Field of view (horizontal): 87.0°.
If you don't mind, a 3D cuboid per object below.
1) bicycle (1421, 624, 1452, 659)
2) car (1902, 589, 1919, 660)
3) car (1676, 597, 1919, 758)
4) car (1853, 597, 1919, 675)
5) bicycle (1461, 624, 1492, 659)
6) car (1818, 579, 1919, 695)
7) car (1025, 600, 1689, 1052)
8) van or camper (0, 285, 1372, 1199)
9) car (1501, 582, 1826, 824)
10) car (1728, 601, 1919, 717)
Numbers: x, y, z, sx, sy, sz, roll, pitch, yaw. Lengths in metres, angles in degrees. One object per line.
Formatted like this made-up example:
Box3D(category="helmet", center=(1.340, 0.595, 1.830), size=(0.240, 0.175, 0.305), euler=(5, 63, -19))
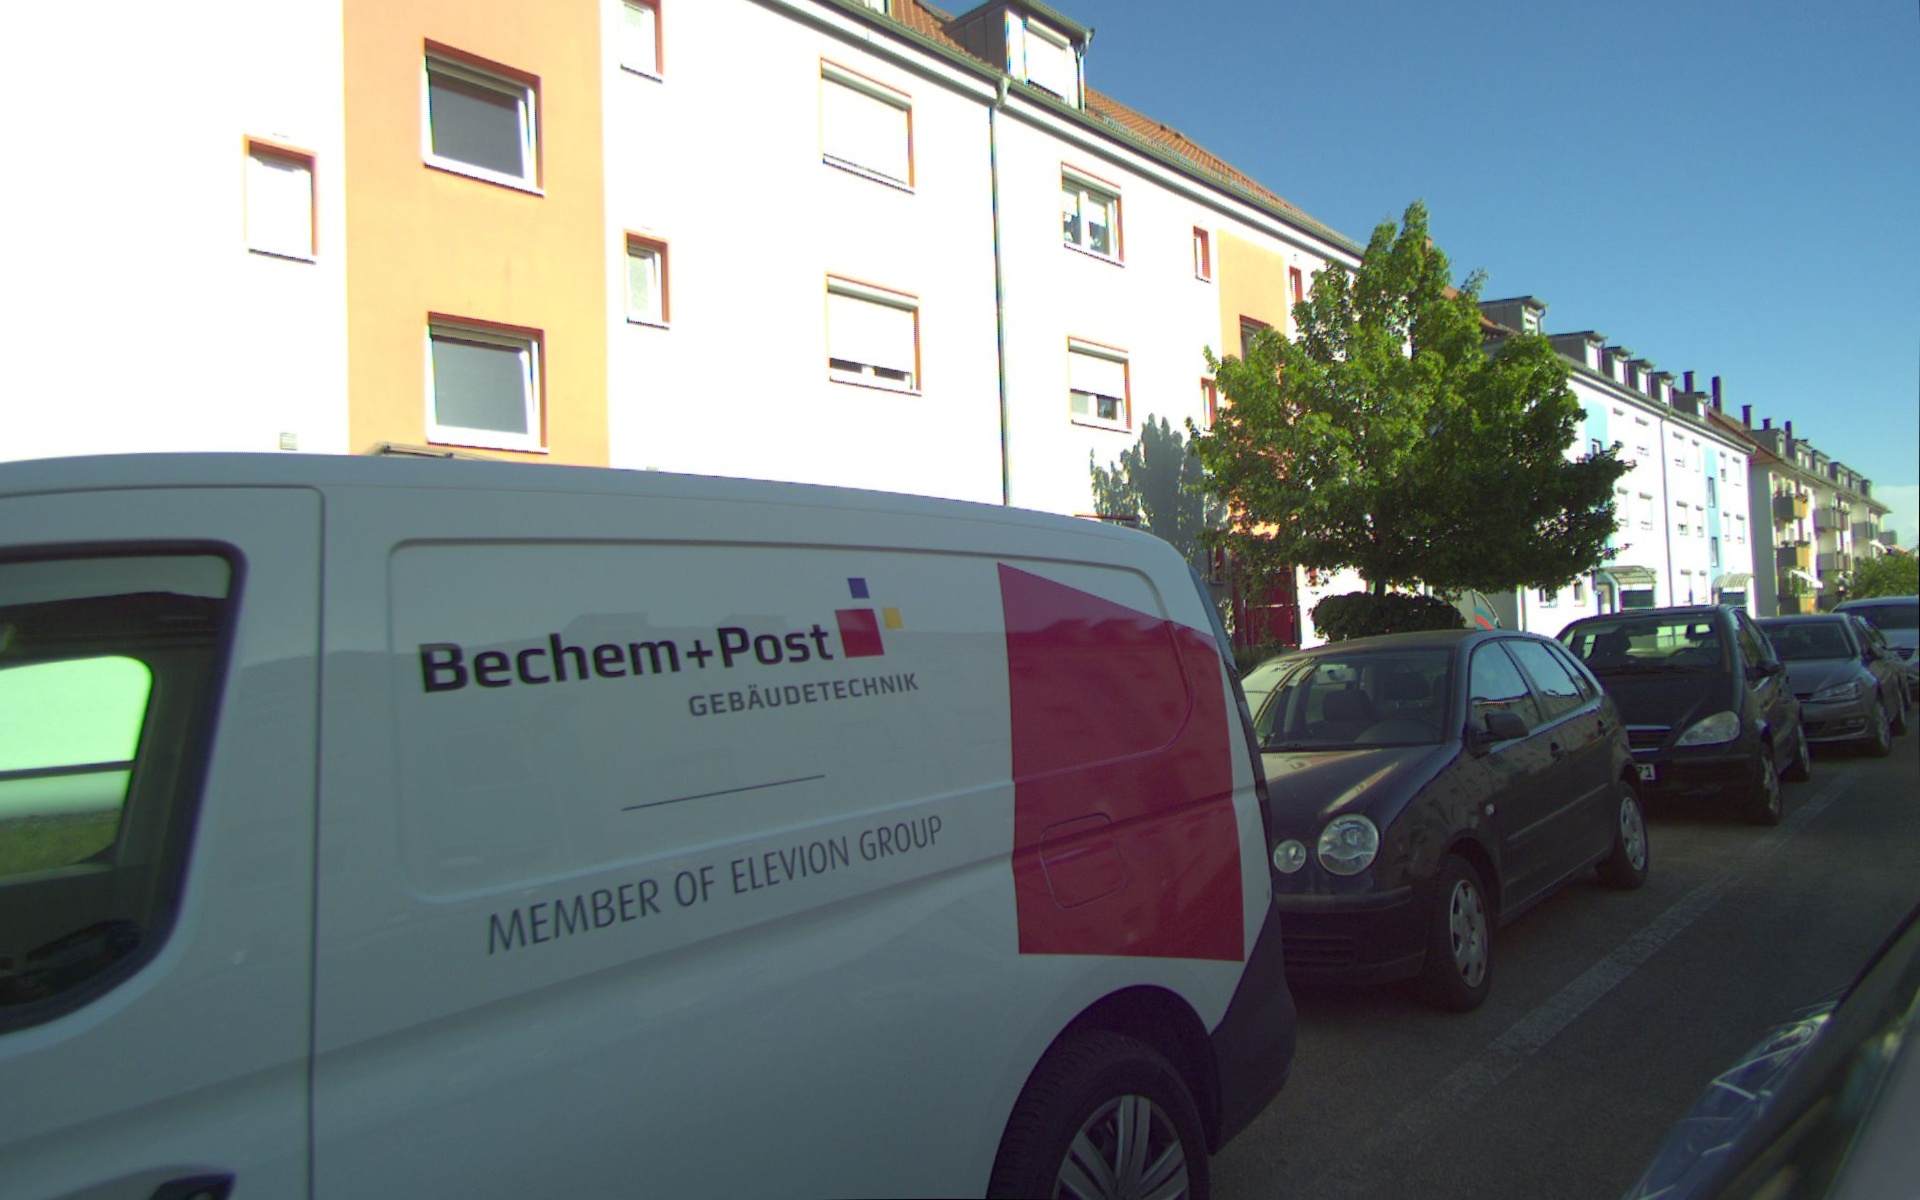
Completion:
Box3D(category="bicycle", center=(14.040, 1.218, 29.814), size=(1.260, 0.958, 0.319), euler=(-1, -1, -40))
Box3D(category="car", center=(24.102, 0.532, 24.316), size=(4.348, 1.627, 1.729), euler=(0, -2, -42))
Box3D(category="car", center=(9.376, 0.748, 11.189), size=(3.885, 1.469, 1.629), euler=(1, -2, -44))
Box3D(category="car", center=(19.857, 0.681, 20.908), size=(3.792, 1.468, 1.618), euler=(0, -4, -43))
Box3D(category="bicycle", center=(14.703, 1.172, 28.810), size=(1.260, 0.958, 0.319), euler=(-1, -1, -40))
Box3D(category="car", center=(16.018, 0.563, 17.106), size=(4.236, 1.742, 1.775), euler=(0, -5, -44))
Box3D(category="car", center=(2.237, 0.843, 5.173), size=(3.725, 1.436, 1.573), euler=(0, -9, -44))
Box3D(category="van or camper", center=(-1.315, 0.626, 1.699), size=(4.653, 1.770, 1.794), euler=(-1, -2, -42))
Box3D(category="car", center=(5.974, 0.698, 8.436), size=(1.617, 1.570, 3.554), euler=(-4, -3, 44))
Box3D(category="car", center=(12.237, 0.753, 14.208), size=(3.428, 1.412, 1.630), euler=(0, -2, -41))
